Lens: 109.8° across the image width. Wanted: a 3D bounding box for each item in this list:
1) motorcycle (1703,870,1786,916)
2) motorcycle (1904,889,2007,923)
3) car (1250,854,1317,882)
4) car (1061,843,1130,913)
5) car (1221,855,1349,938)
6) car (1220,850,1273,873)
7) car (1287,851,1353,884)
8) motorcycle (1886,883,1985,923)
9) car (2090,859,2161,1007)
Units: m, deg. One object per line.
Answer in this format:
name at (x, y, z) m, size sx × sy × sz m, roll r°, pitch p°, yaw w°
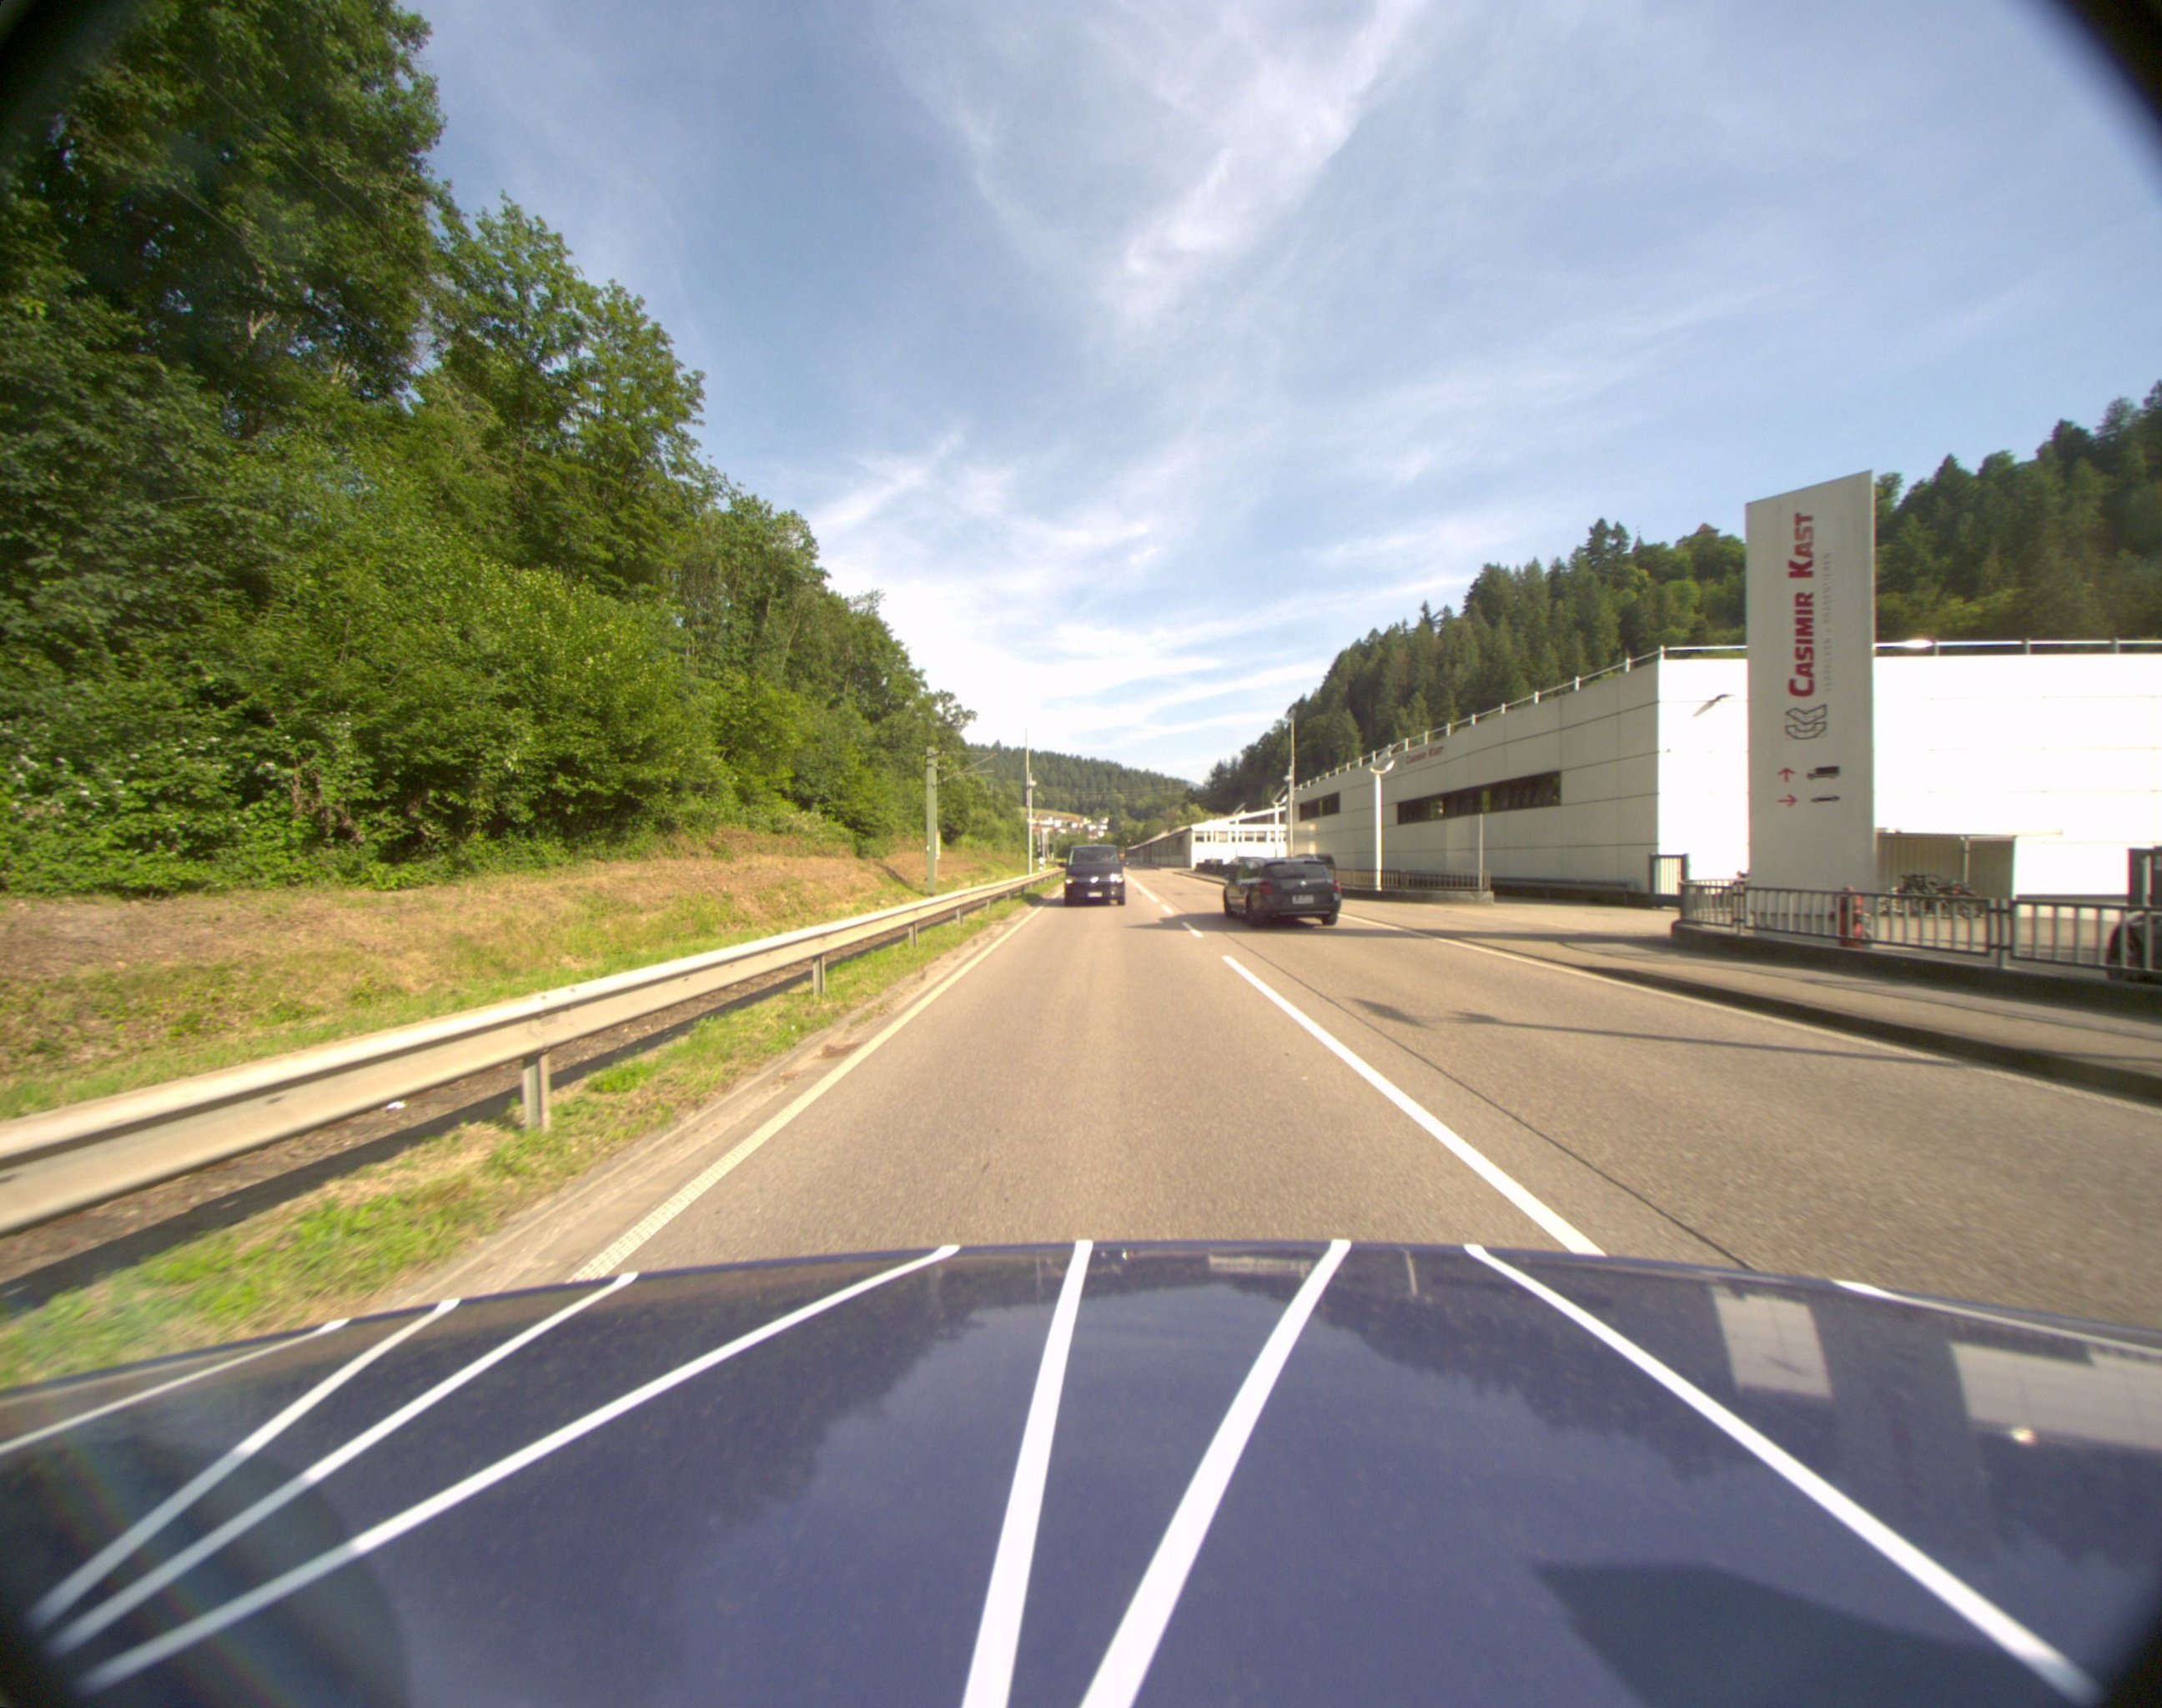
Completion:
motorcycle at (18.115, 1.039, 20.818) m, size 0.513 × 1.146 × 2.089 m, roll 1°, pitch 0°, yaw 2°
motorcycle at (23.215, 1.360, 20.229) m, size 0.493 × 0.756 × 1.978 m, roll 0°, pitch 0°, yaw 2°
car at (11.897, 0.797, 44.465) m, size 1.883 × 1.486 × 4.498 m, roll -1°, pitch 0°, yaw 44°
car at (0.370, 0.674, 24.007) m, size 1.901 × 1.927 × 5.188 m, roll -1°, pitch 0°, yaw -1°
car at (4.222, 0.812, 16.404) m, size 1.681 × 1.477 × 4.246 m, roll -3°, pitch 0°, yaw 2°
car at (12.353, 0.564, 56.539) m, size 1.883 × 1.582 × 4.184 m, roll -1°, pitch 0°, yaw 44°
car at (13.182, 0.709, 41.788) m, size 1.776 × 1.698 × 4.119 m, roll -1°, pitch 0°, yaw 44°
motorcycle at (22.604, 1.277, 20.155) m, size 0.515 × 0.927 × 1.927 m, roll 0°, pitch 0°, yaw 2°
car at (10.134, 0.739, 5.569) m, size 1.707 × 1.367 × 4.744 m, roll 0°, pitch 0°, yaw 32°
